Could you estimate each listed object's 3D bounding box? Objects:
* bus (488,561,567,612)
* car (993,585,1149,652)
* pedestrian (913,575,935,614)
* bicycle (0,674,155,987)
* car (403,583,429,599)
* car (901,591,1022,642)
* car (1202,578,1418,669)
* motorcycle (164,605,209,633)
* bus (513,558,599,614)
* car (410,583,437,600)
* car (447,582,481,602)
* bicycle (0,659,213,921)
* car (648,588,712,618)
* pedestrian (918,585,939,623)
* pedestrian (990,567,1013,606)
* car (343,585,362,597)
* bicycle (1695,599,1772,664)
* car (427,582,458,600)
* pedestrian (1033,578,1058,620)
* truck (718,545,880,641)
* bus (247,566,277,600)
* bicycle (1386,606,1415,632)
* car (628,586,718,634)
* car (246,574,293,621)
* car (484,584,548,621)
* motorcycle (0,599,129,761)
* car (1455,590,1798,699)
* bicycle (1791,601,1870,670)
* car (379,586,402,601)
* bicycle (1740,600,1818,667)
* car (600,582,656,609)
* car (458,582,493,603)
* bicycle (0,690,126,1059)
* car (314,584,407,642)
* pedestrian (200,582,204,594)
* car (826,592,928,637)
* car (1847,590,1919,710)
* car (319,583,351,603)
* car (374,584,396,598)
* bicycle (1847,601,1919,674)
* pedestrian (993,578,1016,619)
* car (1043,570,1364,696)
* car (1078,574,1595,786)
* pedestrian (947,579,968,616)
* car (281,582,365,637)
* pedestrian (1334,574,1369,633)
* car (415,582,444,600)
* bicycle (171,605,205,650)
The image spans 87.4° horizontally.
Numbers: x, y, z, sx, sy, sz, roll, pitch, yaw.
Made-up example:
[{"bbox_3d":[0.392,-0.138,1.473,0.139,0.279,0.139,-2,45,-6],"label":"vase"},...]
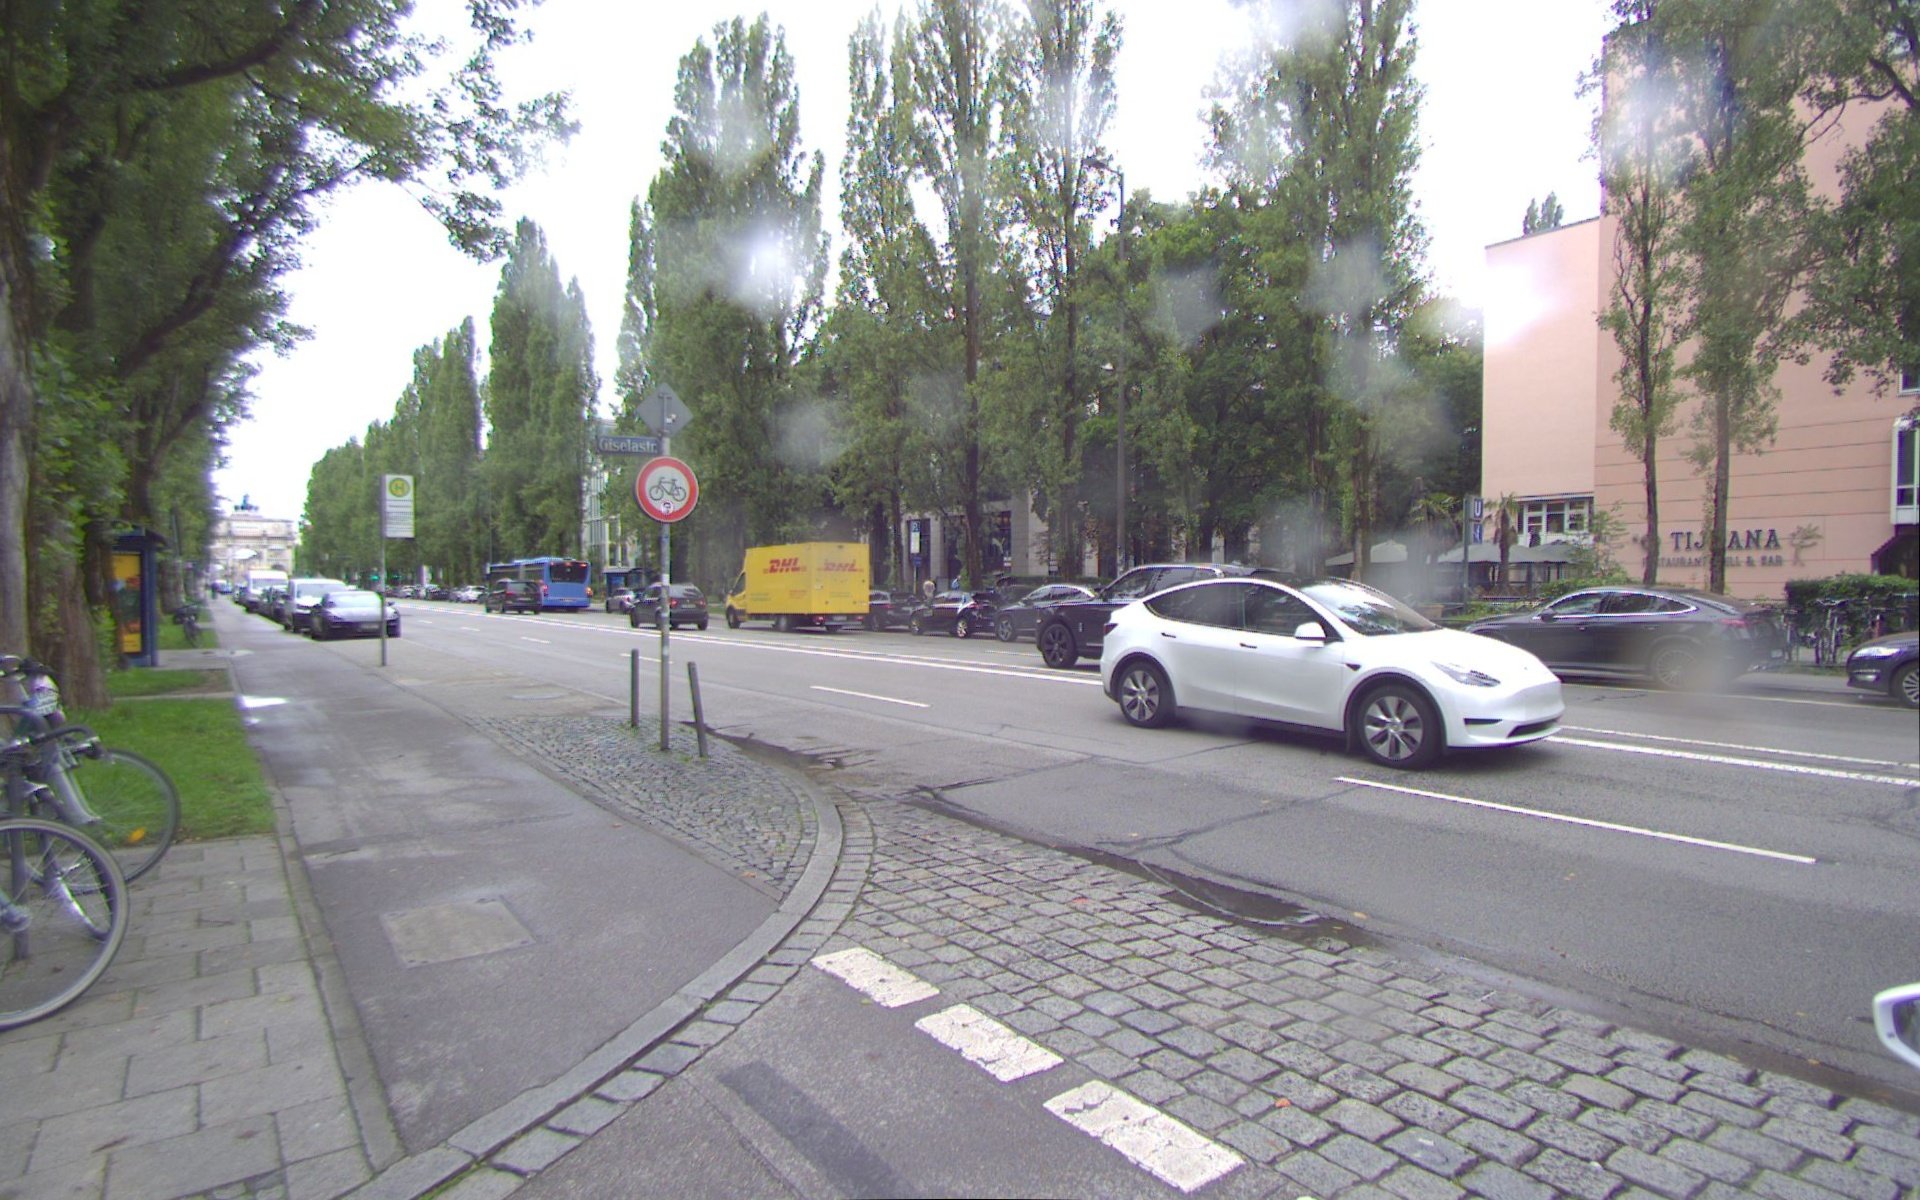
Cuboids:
[{"bbox_3d":[-28.449,-0.893,65.840,2.897,3.093,9.701,-1,1,-34],"label":"bus"},{"bbox_3d":[2.893,0.419,26.914,1.777,1.622,4.192,-1,1,-37],"label":"car"},{"bbox_3d":[-1.624,-0.246,45.570,0.702,1.737,0.724,-1,2,-37],"label":"pedestrian"},{"bbox_3d":[-4.073,0.887,3.682,1.684,1.108,0.487,-1,2,-33],"label":"bicycle"},{"bbox_3d":[-61.432,-1.072,113.403,1.981,1.745,4.302,0,1,-37],"label":"car"},{"bbox_3d":[-0.003,0.453,30.880,1.777,1.431,3.840,-1,1,-37],"label":"car"},{"bbox_3d":[7.362,0.430,21.448,1.778,1.755,4.032,1,0,-39],"label":"car"},{"bbox_3d":[-27.480,0.666,35.674,1.630,0.951,0.467,0,1,20],"label":"motorcycle"},{"bbox_3d":[-23.876,-0.812,59.048,2.897,3.093,8.435,-1,1,-34],"label":"bus"},{"bbox_3d":[-57.217,-0.874,107.129,1.981,1.745,4.302,0,1,-37],"label":"car"},{"bbox_3d":[-44.466,-0.751,90.002,1.981,1.745,4.765,0,1,-37],"label":"car"},{"bbox_3d":[-4.630,0.879,4.539,1.962,1.108,0.487,-1,2,-33],"label":"bicycle"},{"bbox_3d":[-13.898,0.117,49.681,1.777,1.431,3.840,-1,2,-37],"label":"car"},{"bbox_3d":[-1.465,0.166,46.957,0.702,1.737,0.724,-1,2,-37],"label":"pedestrian"},{"bbox_3d":[1.845,-0.606,44.754,0.702,1.737,0.724,-1,2,-37],"label":"pedestrian"},{"bbox_3d":[-87.479,-1.323,144.554,1.981,1.745,4.302,0,1,-37],"label":"car"},{"bbox_3d":[14.599,0.570,18.946,1.970,1.139,0.669,-1,1,-38],"label":"bicycle"},{"bbox_3d":[-51.062,-0.876,99.016,1.981,1.745,4.765,0,1,-37],"label":"car"},{"bbox_3d":[3.542,-0.054,41.639,0.702,1.737,0.724,-1,2,-37],"label":"pedestrian"},{"bbox_3d":[-5.688,-0.284,34.494,2.577,2.947,7.006,-1,2,-36],"label":"truck"},{"bbox_3d":[-88.720,-2.101,127.573,2.625,4.167,9.691,-1,1,-37],"label":"bus"},{"bbox_3d":[13.980,0.595,31.849,1.018,0.809,0.322,-1,2,-33],"label":"bicycle"},{"bbox_3d":[-9.909,0.311,34.511,1.831,1.547,3.714,0,1,-36],"label":"car"},{"bbox_3d":[-41.377,-0.219,60.125,1.994,2.667,5.935,-1,2,-37],"label":"car"},{"bbox_3d":[-22.350,0.097,50.473,1.981,1.745,4.765,0,1,-37],"label":"car"},{"bbox_3d":[-8.368,0.631,8.692,1.951,1.211,0.630,5,2,8],"label":"motorcycle"},{"bbox_3d":[10.955,0.618,16.830,1.777,1.549,4.466,-1,1,-37],"label":"car"},{"bbox_3d":[15.431,0.600,17.791,1.970,1.139,0.669,-1,1,-38],"label":"bicycle"},{"bbox_3d":[-70.810,-0.845,124.898,1.981,1.745,4.302,0,1,-37],"label":"car"},{"bbox_3d":[15.010,0.591,18.397,1.970,1.139,0.669,-1,1,-38],"label":"bicycle"},{"bbox_3d":[-18.440,-0.267,55.709,1.777,1.431,3.840,-1,1,-37],"label":"car"},{"bbox_3d":[-41.445,-0.691,85.943,1.981,1.745,4.077,0,1,-37],"label":"car"},{"bbox_3d":[-3.652,0.896,3.024,1.684,1.108,0.487,-1,2,-33],"label":"bicycle"},{"bbox_3d":[-17.951,0.326,29.994,1.993,1.602,3.958,-1,2,-36],"label":"car"},{"bbox_3d":[-133.283,-2.080,176.618,0.500,2.022,0.516,-1,2,-34],"label":"pedestrian"},{"bbox_3d":[-2.938,0.455,35.040,1.777,1.431,3.840,-1,1,-37],"label":"car"},{"bbox_3d":[14.203,0.676,12.448,1.777,1.549,4.574,-1,1,-37],"label":"car"},{"bbox_3d":[-53.922,-0.611,86.683,1.993,1.602,3.958,-2,2,-37],"label":"car"},{"bbox_3d":[-74.202,-1.197,129.671,1.981,1.745,4.302,0,1,-37],"label":"car"},{"bbox_3d":[15.873,0.609,17.194,1.970,1.139,0.669,-1,1,-38],"label":"bicycle"},{"bbox_3d":[1.912,-0.073,43.053,0.702,1.737,0.724,-1,2,-37],"label":"pedestrian"},{"bbox_3d":[3.835,0.434,16.683,1.983,1.772,5.006,0,1,-39],"label":"car"},{"bbox_3d":[3.512,0.574,10.192,1.981,1.597,4.589,-3,2,-37],"label":"car"},{"bbox_3d":[-0.115,-0.135,46.904,0.702,1.737,0.724,-1,2,-37],"label":"pedestrian"},{"bbox_3d":[-22.399,0.323,35.263,1.995,1.781,3.955,-2,0,-39],"label":"car"},{"bbox_3d":[11.706,0.080,30.048,0.702,1.737,0.724,-1,2,-37],"label":"pedestrian"},{"bbox_3d":[-54.587,-0.931,103.330,1.981,1.745,4.302,0,1,-37],"label":"car"},{"bbox_3d":[-19.057,0.655,24.781,0.549,1.036,1.742,-1,2,-40],"label":"bicycle"}]
